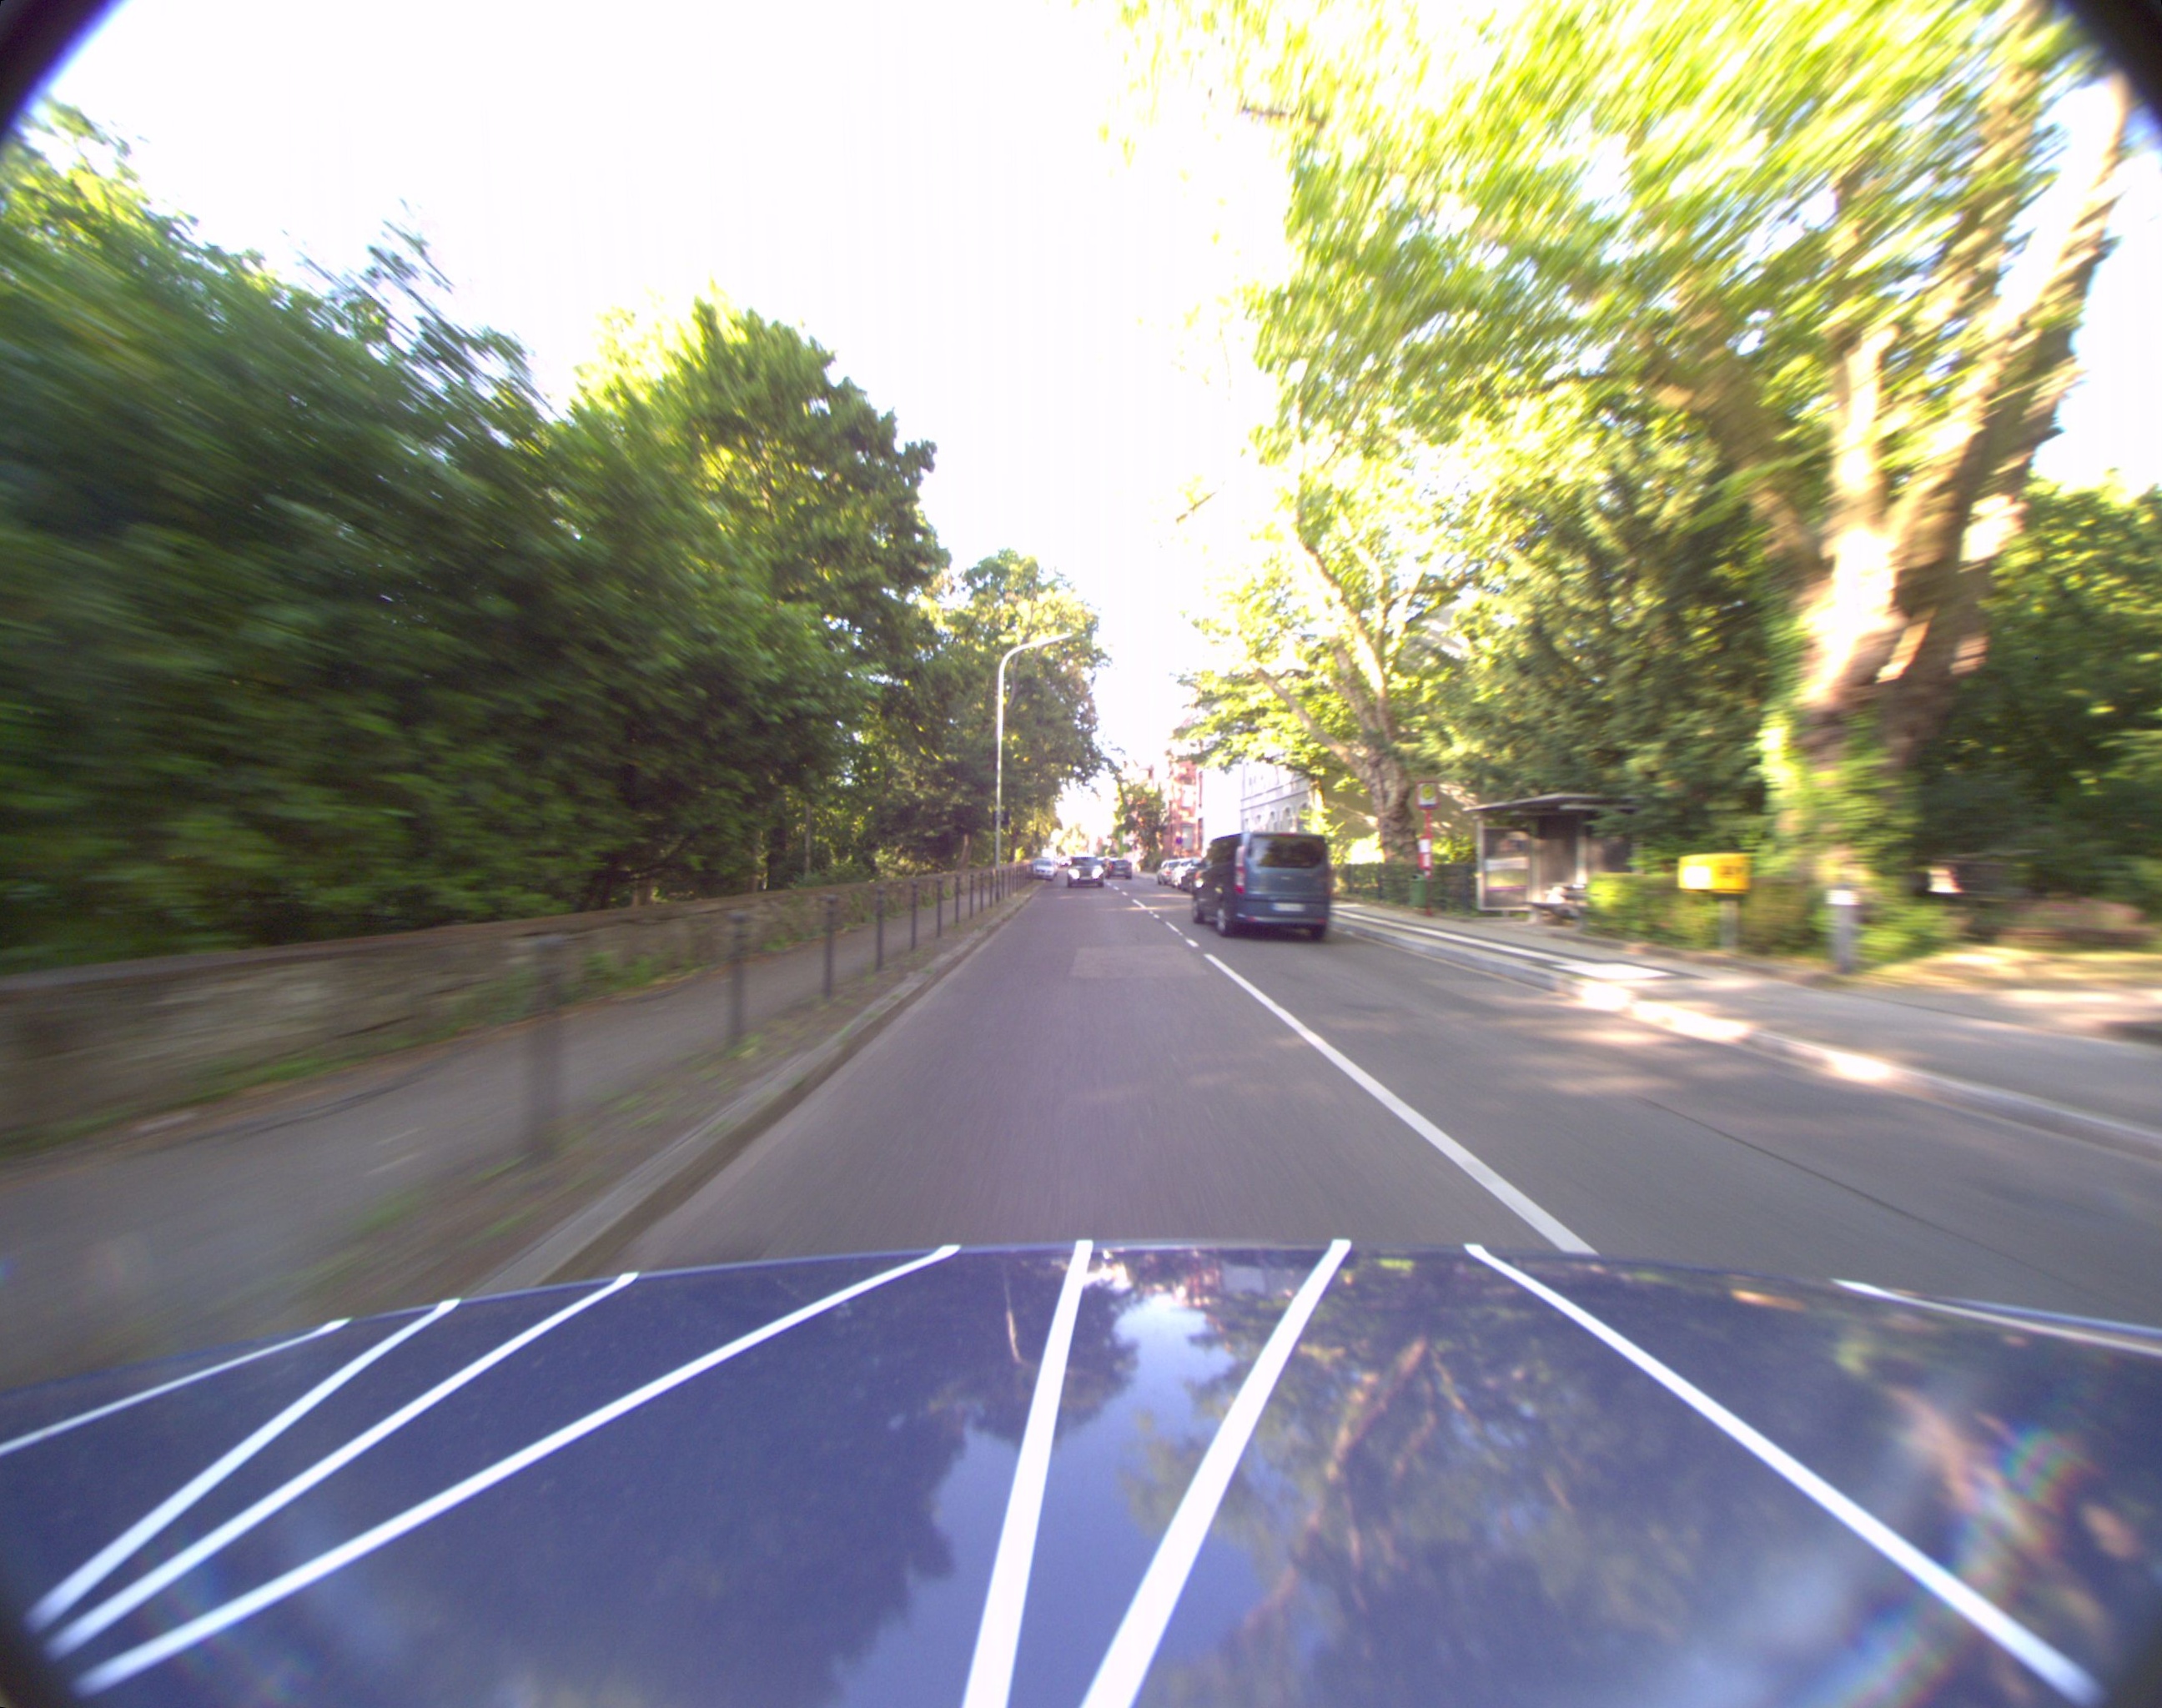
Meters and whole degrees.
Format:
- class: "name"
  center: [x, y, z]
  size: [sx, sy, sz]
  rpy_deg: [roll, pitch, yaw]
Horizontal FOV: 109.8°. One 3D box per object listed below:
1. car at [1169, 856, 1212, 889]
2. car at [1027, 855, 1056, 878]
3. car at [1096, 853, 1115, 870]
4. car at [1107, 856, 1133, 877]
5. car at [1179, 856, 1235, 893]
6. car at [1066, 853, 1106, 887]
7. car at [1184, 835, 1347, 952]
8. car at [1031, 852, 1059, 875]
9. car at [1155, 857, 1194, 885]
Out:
- class: "car"
  center: [5.430, 0.886, 38.078]
  size: [1.628, 1.537, 3.322]
  rpy_deg: [0, 0, -1]
- class: "car"
  center: [-2.721, 0.839, 51.305]
  size: [1.824, 1.375, 3.933]
  rpy_deg: [3, 1, -4]
- class: "car"
  center: [2.593, 0.797, 80.670]
  size: [1.875, 1.608, 4.000]
  rpy_deg: [-3, 0, 2]
- class: "car"
  center: [2.758, 0.869, 54.286]
  size: [1.628, 1.425, 3.559]
  rpy_deg: [1, 0, -1]
- class: "car"
  center: [5.405, 0.855, 33.015]
  size: [1.689, 1.425, 3.615]
  rpy_deg: [-3, 0, -1]
- class: "car"
  center: [0.330, 0.794, 40.022]
  size: [1.936, 1.676, 4.433]
  rpy_deg: [0, 0, 2]
- class: "car"
  center: [3.511, 0.691, 15.498]
  size: [1.999, 1.957, 4.777]
  rpy_deg: [1, 0, -2]
- class: "car"
  center: [-2.816, 0.747, 58.882]
  size: [1.823, 1.678, 3.998]
  rpy_deg: [-3, -1, -7]
- class: "car"
  center: [5.265, 0.955, 43.186]
  size: [1.628, 1.425, 3.559]
  rpy_deg: [-3, 0, -1]
